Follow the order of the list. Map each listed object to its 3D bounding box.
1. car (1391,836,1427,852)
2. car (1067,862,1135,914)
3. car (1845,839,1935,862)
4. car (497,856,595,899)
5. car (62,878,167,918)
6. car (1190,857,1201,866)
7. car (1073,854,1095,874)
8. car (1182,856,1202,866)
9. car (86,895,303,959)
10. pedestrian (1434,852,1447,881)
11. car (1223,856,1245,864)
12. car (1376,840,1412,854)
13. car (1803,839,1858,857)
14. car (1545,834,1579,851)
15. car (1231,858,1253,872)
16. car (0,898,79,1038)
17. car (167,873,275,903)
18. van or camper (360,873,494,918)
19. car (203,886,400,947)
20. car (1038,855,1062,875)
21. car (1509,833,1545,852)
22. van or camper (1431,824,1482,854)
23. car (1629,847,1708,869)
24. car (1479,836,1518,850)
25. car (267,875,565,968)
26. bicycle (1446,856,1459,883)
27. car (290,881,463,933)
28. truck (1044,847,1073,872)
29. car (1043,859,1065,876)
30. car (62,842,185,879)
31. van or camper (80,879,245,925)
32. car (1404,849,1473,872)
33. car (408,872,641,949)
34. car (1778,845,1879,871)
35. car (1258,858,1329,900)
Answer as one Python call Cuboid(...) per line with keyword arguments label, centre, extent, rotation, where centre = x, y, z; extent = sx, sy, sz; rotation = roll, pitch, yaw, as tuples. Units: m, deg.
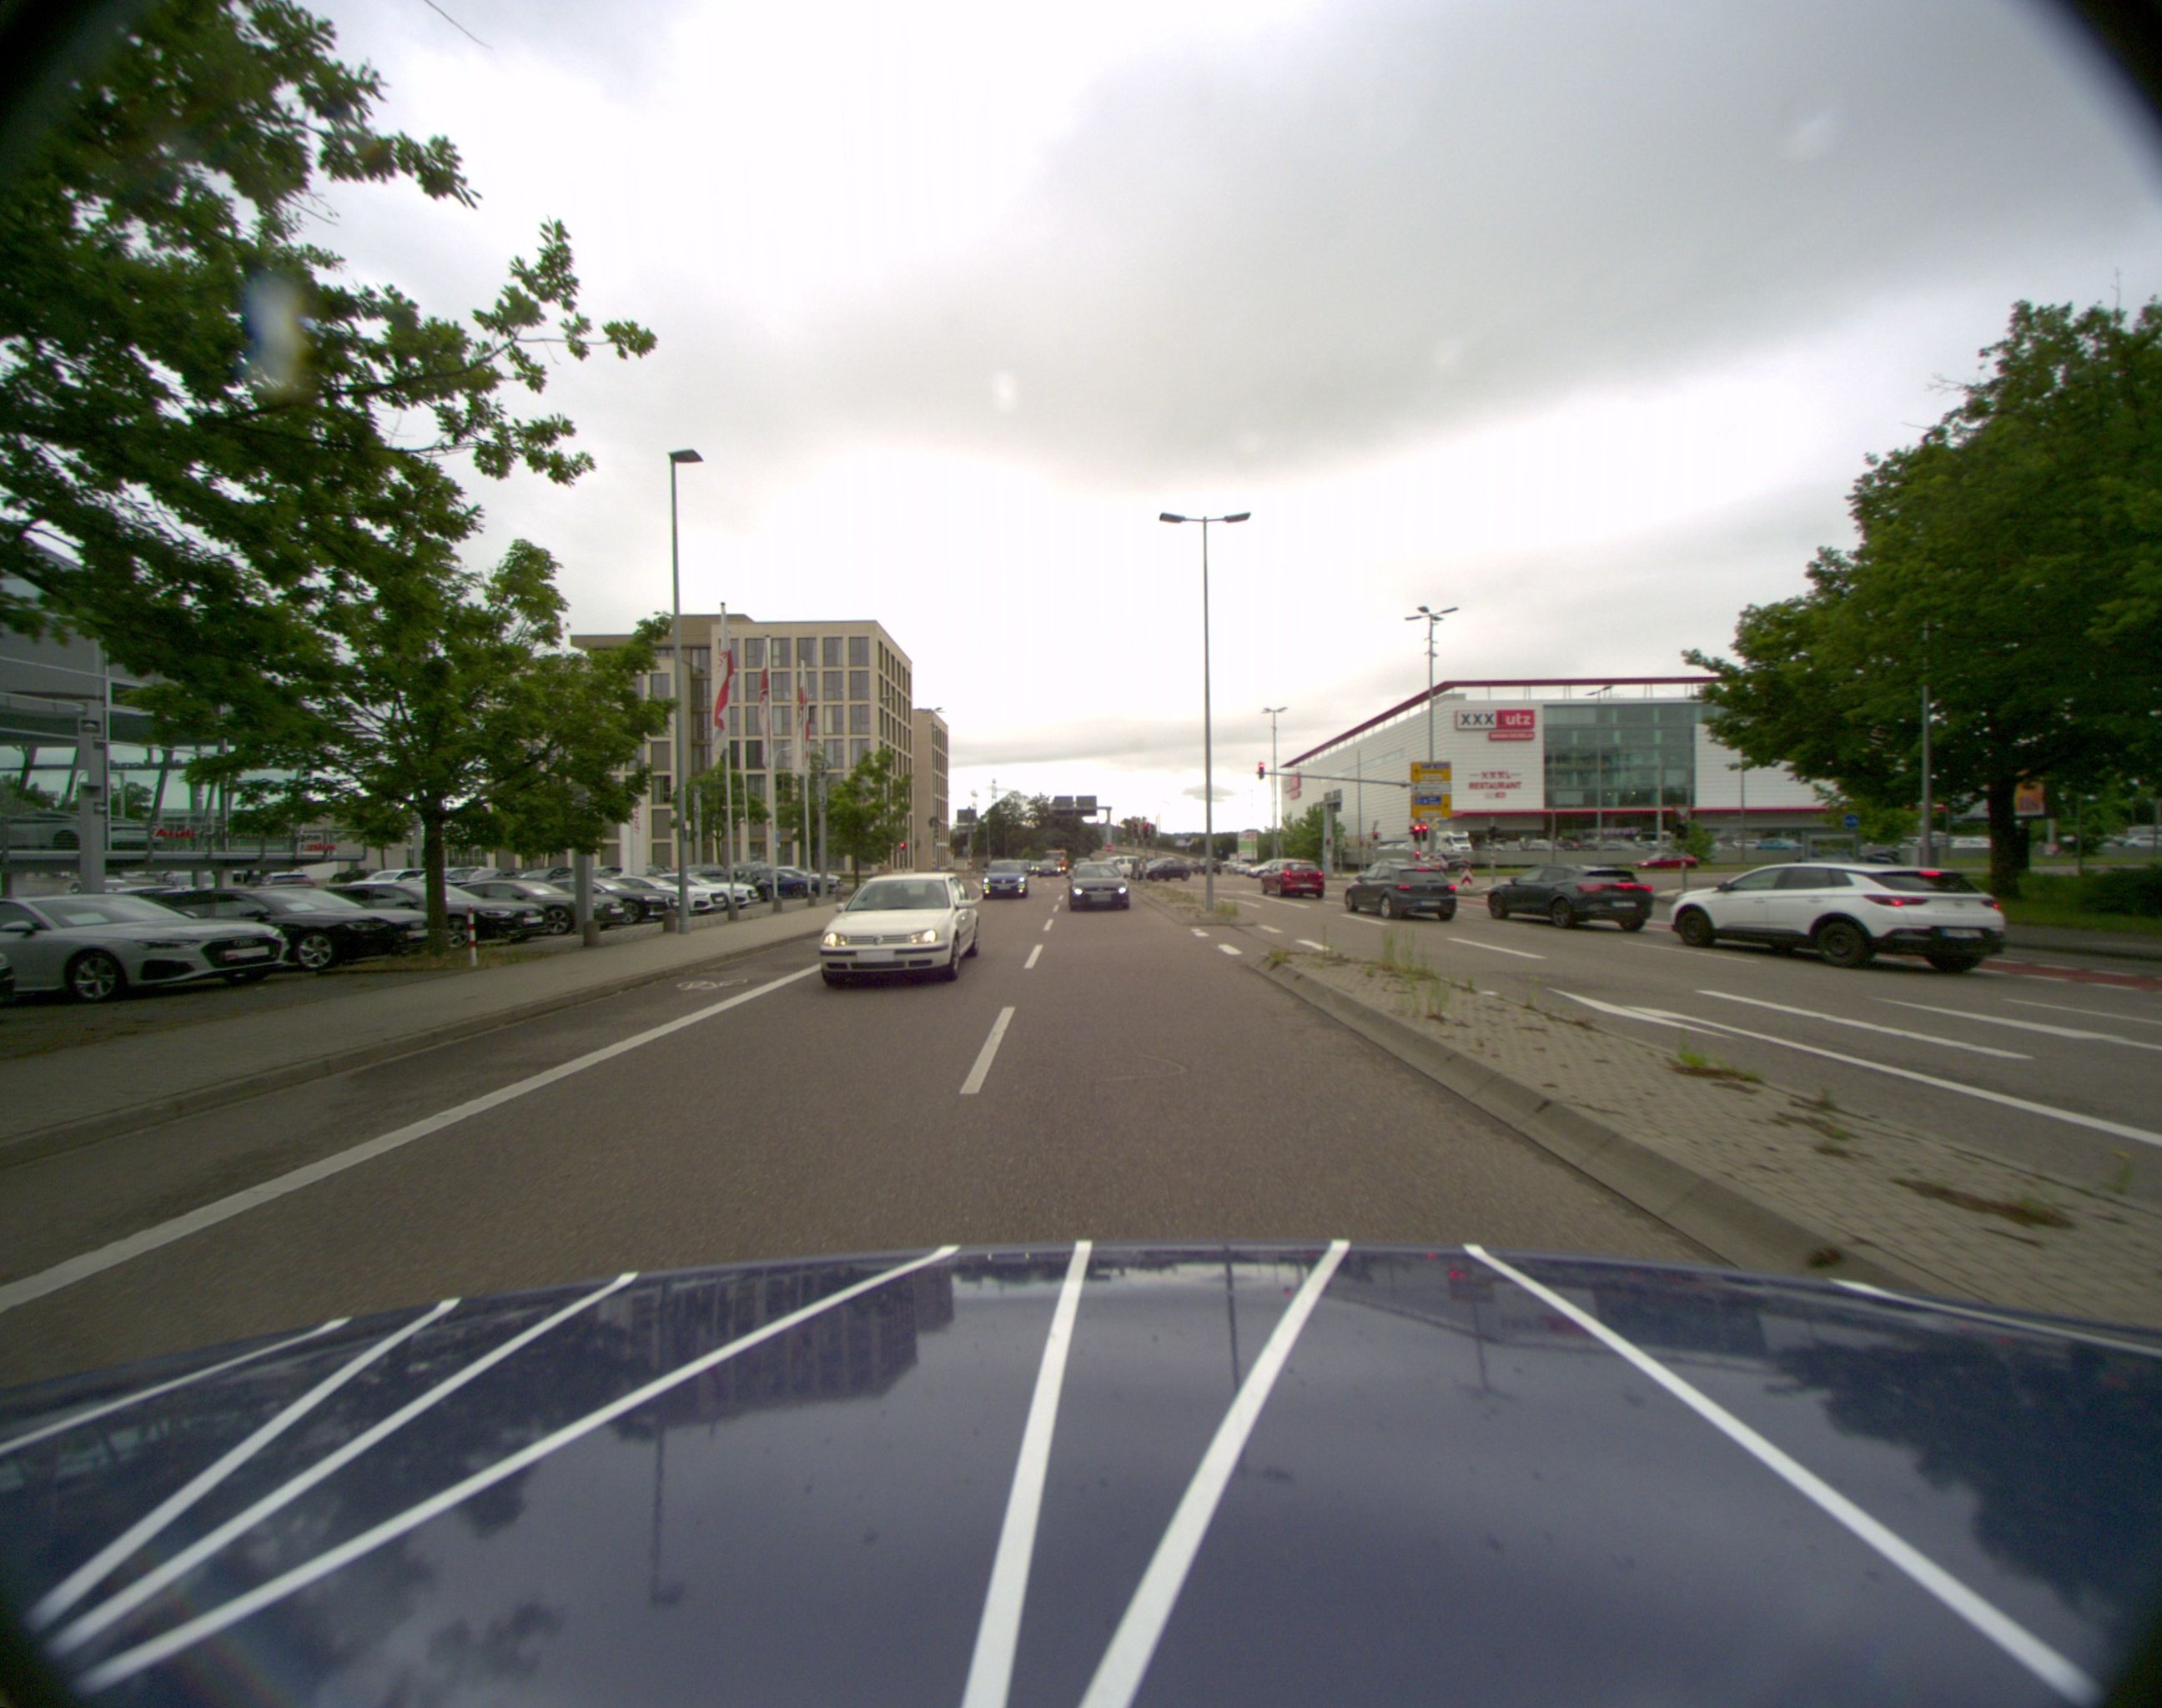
Cuboid(label="car", centre=(44.212, -1.302, 102.522), extent=(3.995, 2.001, 2.001), rotation=(-2, -2, 5))
Cuboid(label="car", centre=(0.519, 1.004, 23.178), extent=(1.859, 1.426, 4.197), rotation=(-1, -2, -2))
Cuboid(label="car", centre=(56.791, -0.212, 53.400), extent=(4.214, 1.407, 1.804), rotation=(-2, -2, 3))
Cuboid(label="car", centre=(-28.770, 1.184, 41.089), extent=(1.999, 2.002, 4.786), rotation=(-2, 2, -2))
Cuboid(label="car", centre=(-45.601, 2.075, 35.852), extent=(4.436, 1.649, 1.925), rotation=(-2, 1, 23))
Cuboid(label="car", centre=(22.679, 1.467, 150.615), extent=(1.859, 1.651, 4.002), rotation=(-2, -2, 4))
Cuboid(label="car", centre=(0.252, 0.950, 70.049), extent=(1.904, 1.633, 4.069), rotation=(-2, -2, -1))
Cuboid(label="car", centre=(15.497, 0.995, 106.265), extent=(1.817, 1.402, 4.878), rotation=(0, -1, -2))
Cuboid(label="car", centre=(-24.471, 1.998, 21.076), extent=(3.997, 1.533, 1.728), rotation=(-2, -2, 0))
Cuboid(label="pedestrian", centre=(19.905, 0.685, 42.040), extent=(0.639, 1.617, 0.693), rotation=(0, 2, 26))
Cuboid(label="car", centre=(30.908, 1.206, 153.341), extent=(4.192, 1.600, 1.724), rotation=(-2, -2, 8))
Cuboid(label="car", centre=(44.579, -0.987, 108.223), extent=(4.255, 1.665, 1.778), rotation=(-2, -2, 3))
Cuboid(label="car", centre=(81.257, -0.651, 82.380), extent=(3.996, 1.783, 1.892), rotation=(-2, -2, 1))
Cuboid(label="car", centre=(63.278, -1.475, 99.977), extent=(1.998, 2.001, 4.002), rotation=(-2, -2, 1))
Cuboid(label="car", centre=(17.644, 1.203, 83.185), extent=(1.693, 1.363, 3.929), rotation=(-2, -2, 3))
Cuboid(label="car", centre=(-13.314, 1.308, 7.532), extent=(4.215, 1.412, 1.856), rotation=(-3, 0, 0))
Cuboid(label="car", centre=(-50.021, 1.965, 44.264), extent=(3.997, 1.608, 2.001), rotation=(-2, -2, 0))
Cuboid(label="van or camper", centre=(-26.461, 1.640, 30.958), extent=(1.998, 1.667, 4.001), rotation=(-2, -2, 0))
Cuboid(label="car", centre=(-24.398, 1.940, 23.888), extent=(4.315, 1.685, 1.811), rotation=(-2, -2, 0))
Cuboid(label="car", centre=(-2.834, 1.044, 70.625), extent=(1.998, 1.758, 4.423), rotation=(-2, -2, 0))
Cuboid(label="car", centre=(52.542, -1.309, 89.550), extent=(1.868, 1.935, 3.870), rotation=(-2, -2, 0))
Cuboid(label="van or camper", centre=(44.744, -1.693, 90.756), extent=(2.712, 3.116, 7.240), rotation=(-2, -2, 4))
Cuboid(label="car", centre=(42.651, 0.276, 55.192), extent=(4.214, 1.407, 1.804), rotation=(-2, -2, 3))
Cuboid(label="car", centre=(57.609, -1.492, 104.857), extent=(4.255, 1.665, 1.778), rotation=(-2, -2, 3))
Cuboid(label="car", centre=(-13.511, 1.329, 15.662), extent=(4.376, 1.462, 1.894), rotation=(-4, 0, 0))
Cuboid(label="bicycle", centre=(20.484, 0.829, 41.850), extent=(0.595, 1.388, 1.937), rotation=(1, 1, 27))
Cuboid(label="car", centre=(-24.714, 1.823, 26.779), extent=(4.260, 1.477, 1.929), rotation=(-4, -1, 1))
Cuboid(label="truck", centre=(-2.528, 0.698, 86.532), extent=(2.819, 2.622, 6.677), rotation=(-2, -2, 2))
Cuboid(label="car", centre=(-2.707, 1.366, 77.637), extent=(1.998, 1.591, 4.001), rotation=(-2, -2, 1))
Cuboid(label="car", centre=(-50.676, 0.366, 40.274), extent=(3.997, 1.812, 2.001), rotation=(-2, -2, 0))
Cuboid(label="van or camper", centre=(-37.092, 1.898, 30.851), extent=(1.846, 1.701, 4.001), rotation=(-2, -2, 0))
Cuboid(label="car", centre=(26.510, 0.506, 56.417), extent=(4.214, 1.564, 1.804), rotation=(-2, -2, 3))
Cuboid(label="car", centre=(-13.462, 1.326, 18.589), extent=(4.188, 1.477, 1.908), rotation=(-4, 0, 0))
Cuboid(label="car", centre=(44.023, 0.226, 44.803), extent=(4.114, 1.479, 1.702), rotation=(0, 1, 3))
Cuboid(label="car", centre=(8.587, 0.962, 31.085), extent=(1.739, 1.479, 4.077), rotation=(0, 1, 0))
